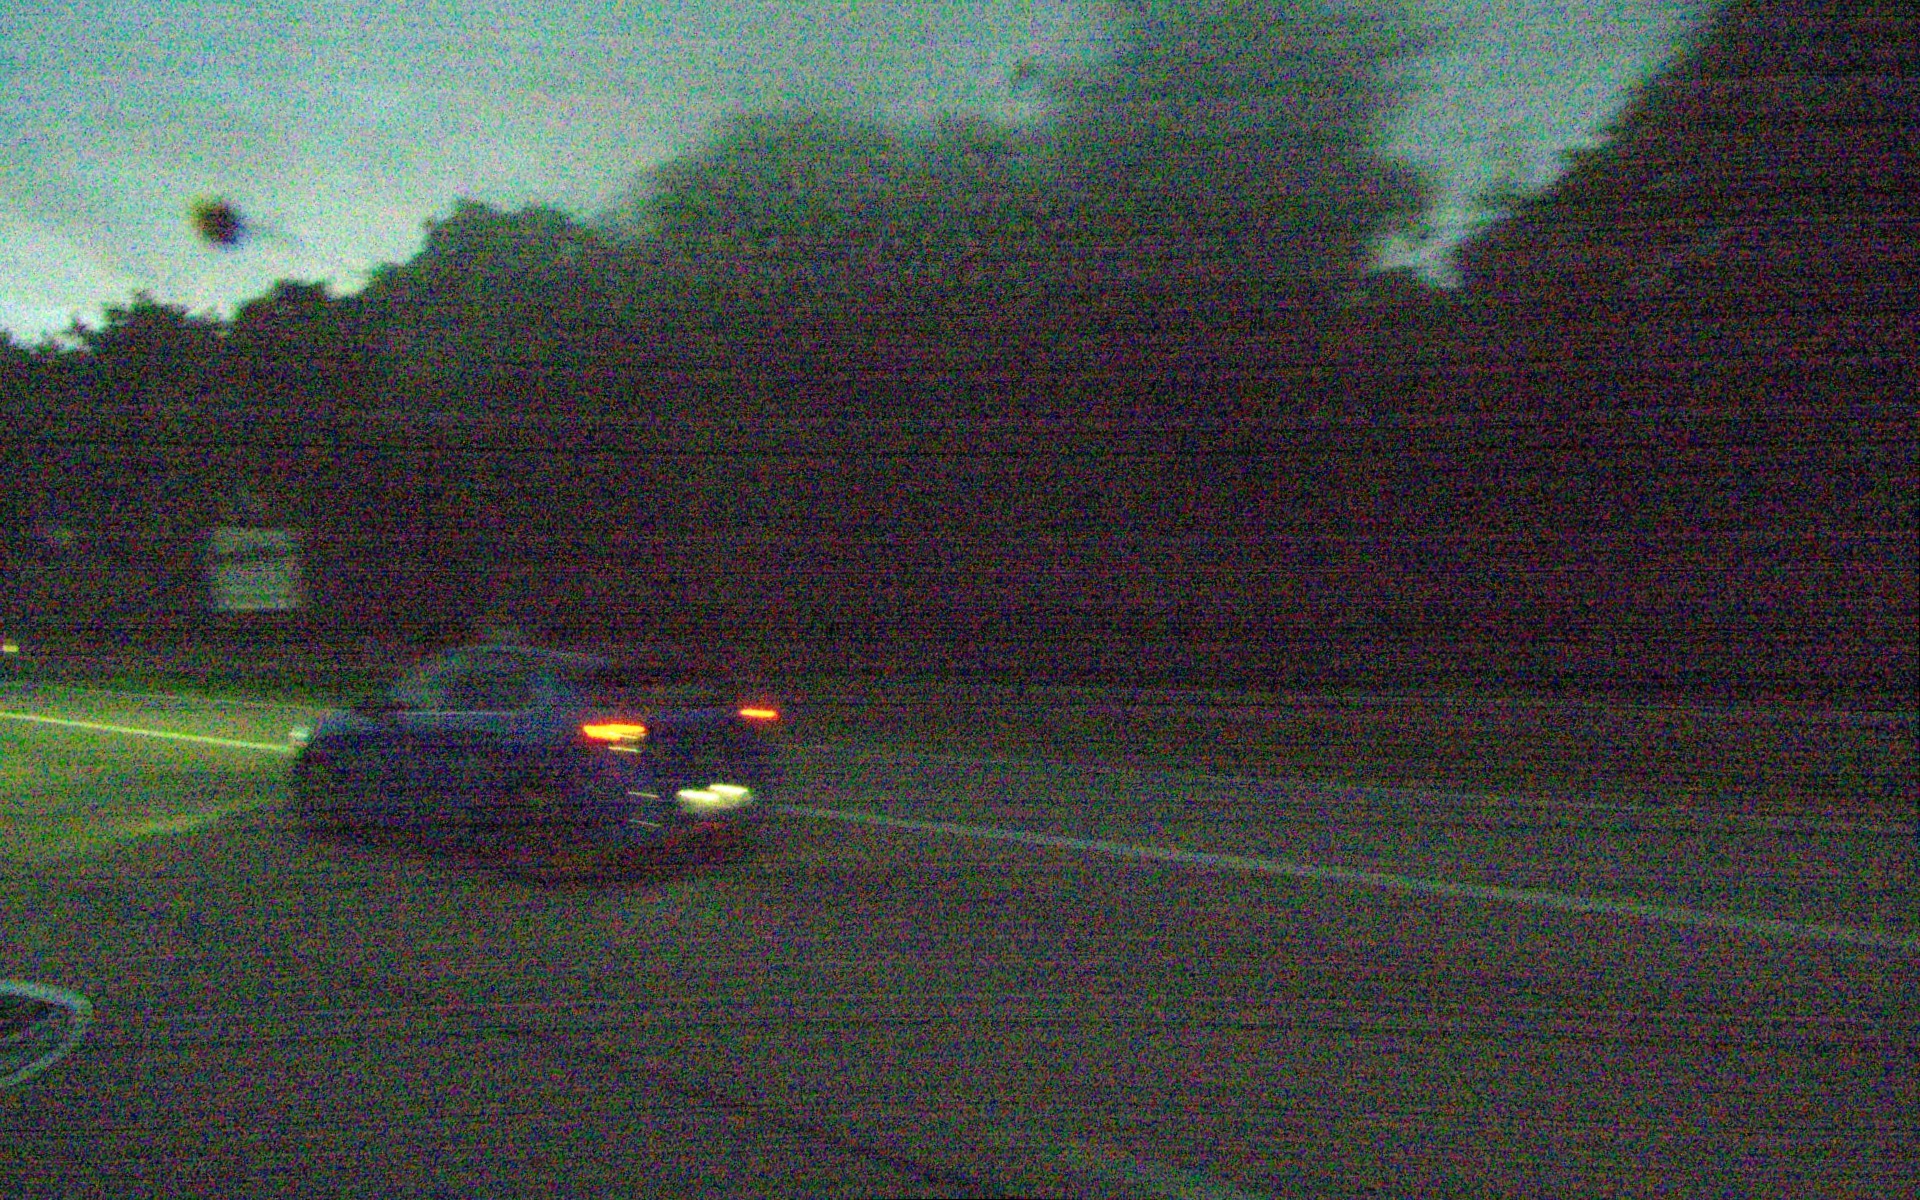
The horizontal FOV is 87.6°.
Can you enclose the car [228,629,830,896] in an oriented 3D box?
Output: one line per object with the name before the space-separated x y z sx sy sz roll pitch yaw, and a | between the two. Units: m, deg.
car | -3.315 0.970 7.442 4.517 1.454 1.863 -2 -2 31
